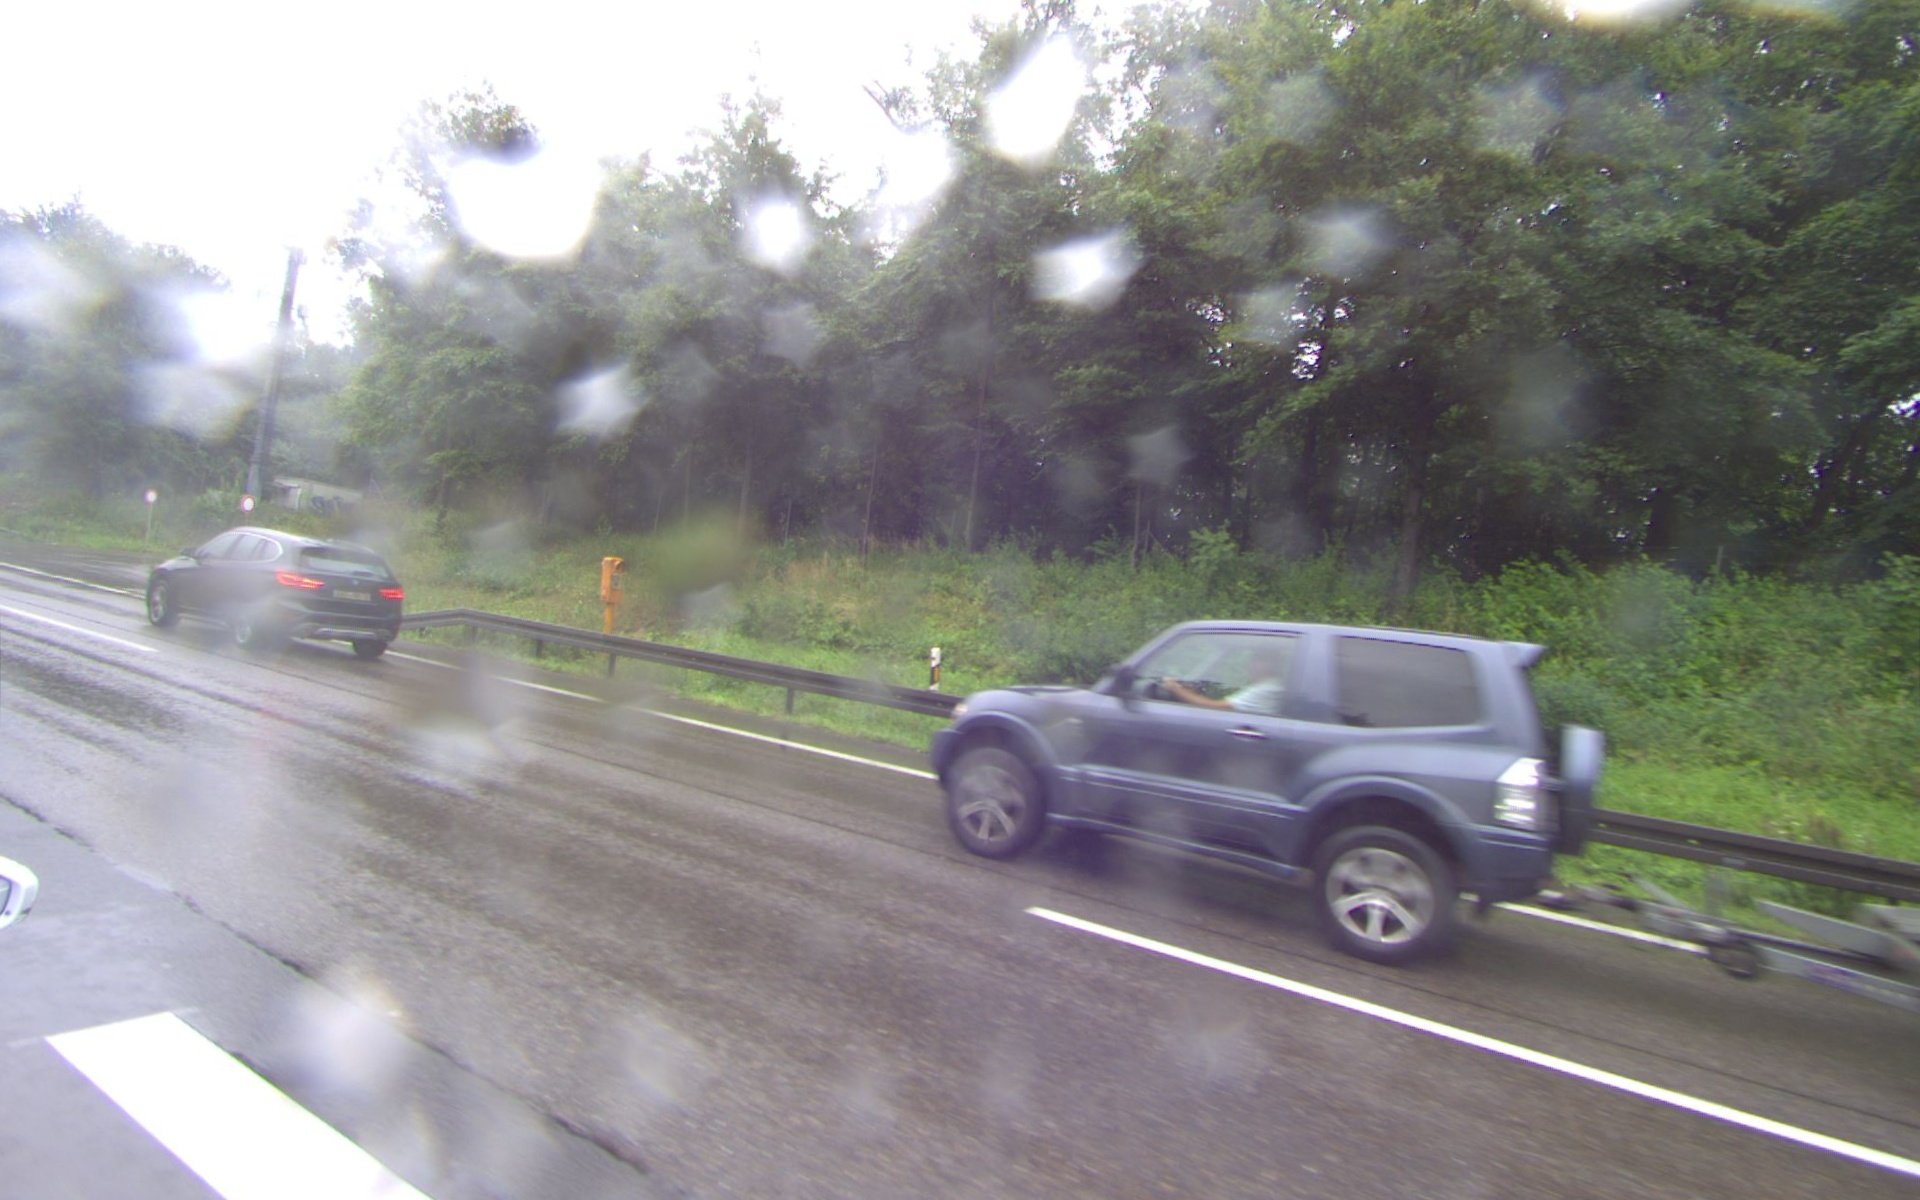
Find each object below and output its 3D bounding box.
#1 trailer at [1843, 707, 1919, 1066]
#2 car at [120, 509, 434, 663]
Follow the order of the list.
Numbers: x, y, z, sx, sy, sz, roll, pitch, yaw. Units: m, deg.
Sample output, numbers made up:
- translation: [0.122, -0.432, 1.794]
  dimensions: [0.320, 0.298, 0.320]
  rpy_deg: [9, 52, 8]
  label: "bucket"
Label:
- translation: [6.981, 1.654, 3.792]
  dimensions: [4.997, 1.734, 2.248]
  rpy_deg: [7, -1, 31]
  label: "trailer"
- translation: [-9.983, -0.234, 14.601]
  dimensions: [4.689, 1.602, 1.993]
  rpy_deg: [7, -1, 33]
  label: "car"
